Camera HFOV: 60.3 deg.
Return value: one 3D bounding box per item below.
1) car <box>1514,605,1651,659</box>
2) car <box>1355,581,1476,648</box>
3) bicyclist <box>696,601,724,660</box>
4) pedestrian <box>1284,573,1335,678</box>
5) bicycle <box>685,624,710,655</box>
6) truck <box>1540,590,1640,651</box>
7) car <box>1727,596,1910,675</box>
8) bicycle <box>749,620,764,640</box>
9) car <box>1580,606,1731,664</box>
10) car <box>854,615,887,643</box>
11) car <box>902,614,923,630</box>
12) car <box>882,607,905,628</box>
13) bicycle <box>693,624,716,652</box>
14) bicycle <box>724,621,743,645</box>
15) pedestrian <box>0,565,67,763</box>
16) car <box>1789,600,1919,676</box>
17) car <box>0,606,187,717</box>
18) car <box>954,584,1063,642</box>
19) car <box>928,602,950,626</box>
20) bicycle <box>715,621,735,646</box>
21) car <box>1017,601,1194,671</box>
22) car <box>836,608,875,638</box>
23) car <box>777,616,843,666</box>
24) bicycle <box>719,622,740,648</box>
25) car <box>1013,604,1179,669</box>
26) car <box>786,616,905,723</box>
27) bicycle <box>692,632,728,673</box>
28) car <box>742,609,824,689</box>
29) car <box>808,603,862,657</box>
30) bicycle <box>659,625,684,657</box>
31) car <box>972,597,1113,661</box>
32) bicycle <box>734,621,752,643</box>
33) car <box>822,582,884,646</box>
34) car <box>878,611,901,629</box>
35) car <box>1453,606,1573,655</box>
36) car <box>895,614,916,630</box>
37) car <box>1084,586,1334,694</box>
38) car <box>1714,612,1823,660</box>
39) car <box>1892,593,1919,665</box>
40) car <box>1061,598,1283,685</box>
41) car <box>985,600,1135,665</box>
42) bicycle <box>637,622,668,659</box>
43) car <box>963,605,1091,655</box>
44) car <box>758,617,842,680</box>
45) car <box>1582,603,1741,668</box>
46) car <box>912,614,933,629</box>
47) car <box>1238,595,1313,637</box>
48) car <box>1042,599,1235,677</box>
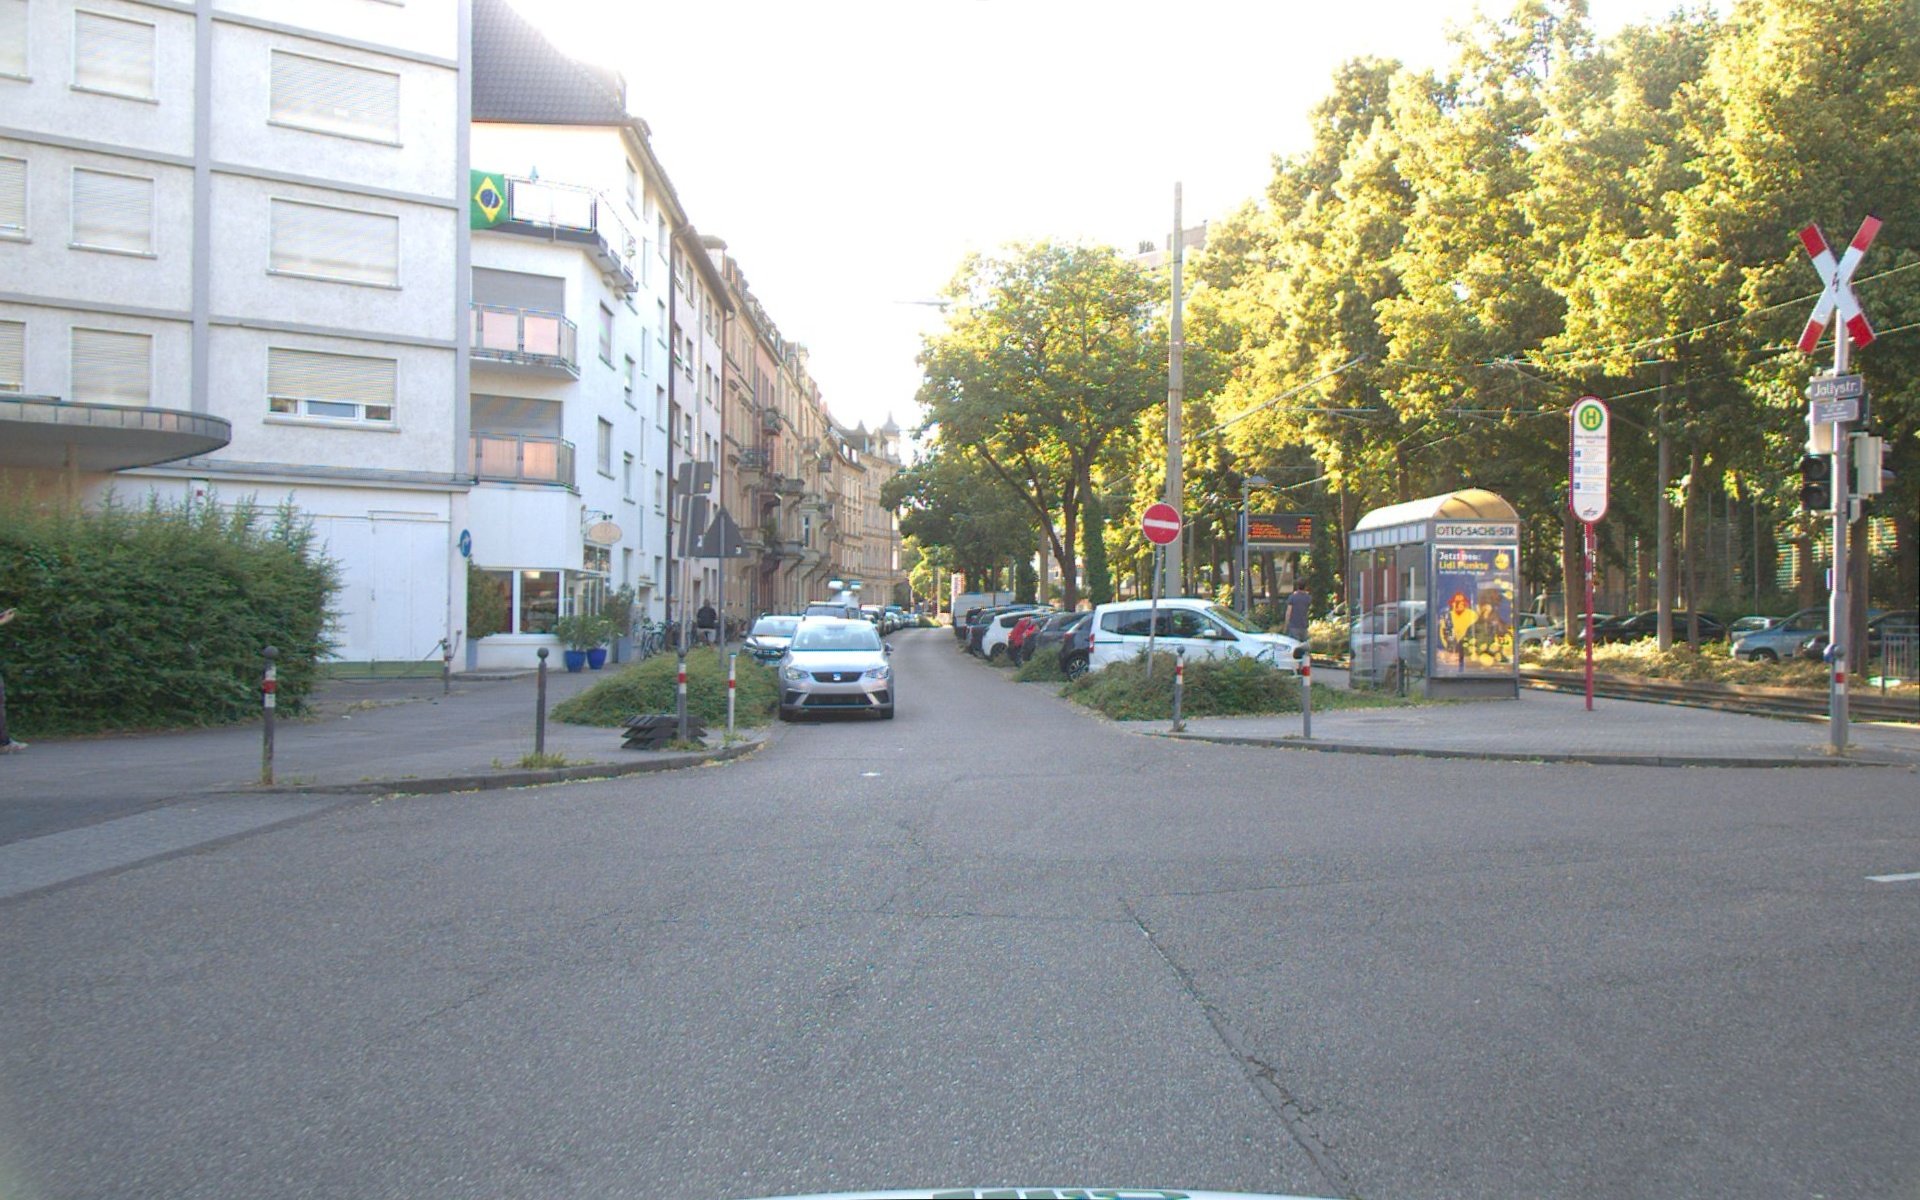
[{"bbox_3d":[18.751,0.984,49.967,3.737,1.415,1.738,3,-1,18],"label":"car"},{"bbox_3d":[18.750,0.587,68.103,4.401,2.519,1.816,2,-1,29],"label":"car"},{"bbox_3d":[-6.991,0.854,46.303,0.697,1.645,0.723,0,-1,-1],"label":"bicyclist"},{"bbox_3d":[6.571,0.479,31.090,0.830,1.944,0.838,0,-1,20],"label":"pedestrian"},{"bbox_3d":[-9.237,1.381,58.294,0.614,1.021,2.175,0,0,-2],"label":"bicycle"},{"bbox_3d":[25.455,0.824,66.974,2.318,2.393,4.382,0,0,-1],"label":"truck"},{"bbox_3d":[19.678,0.790,38.045,3.534,1.589,1.607,3,0,22],"label":"car"},{"bbox_3d":[-10.681,1.544,86.828,0.614,1.021,2.175,0,0,-2],"label":"bicycle"},{"bbox_3d":[19.577,0.990,46.710,3.737,1.415,1.738,3,-1,18],"label":"car"},{"bbox_3d":[-5.127,1.654,95.091,1.675,1.471,4.000,-1,0,0],"label":"car"},{"bbox_3d":[-4.777,2.193,166.022,1.674,1.471,4.002,-1,0,5],"label":"car"},{"bbox_3d":[-6.063,1.577,150.616,1.675,1.852,4.001,-1,0,3],"label":"car"},{"bbox_3d":[-9.552,1.404,61.821,0.614,1.021,2.175,0,0,-2],"label":"bicycle"},{"bbox_3d":[-10.138,1.464,74.062,0.614,1.021,2.175,0,0,-2],"label":"bicycle"},{"bbox_3d":[-8.848,0.565,15.174,0.811,1.766,0.870,1,-1,-3],"label":"pedestrian"},{"bbox_3d":[19.800,0.830,35.345,3.534,1.472,1.607,3,0,22],"label":"car"},{"bbox_3d":[-13.616,0.871,24.223,3.949,1.559,1.978,0,-1,-33],"label":"car"},{"bbox_3d":[2.533,0.680,86.572,5.149,2.616,2.271,-4,-1,27],"label":"car"},{"bbox_3d":[-2.319,1.500,181.231,1.674,2.607,5.571,-1,0,7],"label":"car"},{"bbox_3d":[-10.166,1.450,71.570,0.614,1.021,2.175,0,0,-2],"label":"bicycle"},{"bbox_3d":[3.709,0.913,42.273,4.142,1.484,1.607,-4,-1,23],"label":"car"},{"bbox_3d":[-5.465,1.188,86.815,1.675,1.471,4.000,-1,0,1],"label":"car"},{"bbox_3d":[-4.800,1.284,53.299,1.675,1.471,4.000,-1,0,1],"label":"car"},{"bbox_3d":[-9.570,1.450,68.700,0.614,1.021,2.175,0,0,-2],"label":"bicycle"},{"bbox_3d":[3.696,0.994,45.007,4.142,1.484,1.607,-4,-1,23],"label":"car"},{"bbox_3d":[-1.842,1.005,25.578,1.678,1.471,3.995,-1,0,-6],"label":"car"},{"bbox_3d":[-6.988,1.456,46.327,0.697,1.069,2.347,0,0,-1],"label":"bicycle"},{"bbox_3d":[-4.025,1.077,38.124,1.677,1.702,3.997,-1,0,-4],"label":"car"},{"bbox_3d":[-4.768,1.135,63.670,1.675,1.966,4.000,-1,0,1],"label":"car"},{"bbox_3d":[-9.461,1.342,54.313,0.521,1.021,2.175,0,0,-2],"label":"bicycle"},{"bbox_3d":[2.674,0.956,53.796,4.154,1.779,1.852,-4,-1,35],"label":"car"},{"bbox_3d":[-10.123,1.495,77.272,0.614,1.021,2.175,0,0,-2],"label":"bicycle"},{"bbox_3d":[-5.115,0.640,79.645,2.500,2.938,5.482,-1,0,1],"label":"car"},{"bbox_3d":[-6.036,1.710,142.173,1.675,1.471,4.000,-1,0,1],"label":"car"},{"bbox_3d":[18.667,1.021,55.959,3.737,1.446,1.738,3,-1,18],"label":"car"},{"bbox_3d":[-5.295,2.100,160.612,1.675,1.471,4.001,-1,0,3],"label":"car"},{"bbox_3d":[4.538,0.745,30.295,4.148,1.681,1.605,-4,-1,29],"label":"car"},{"bbox_3d":[26.114,1.149,53.545,1.541,1.493,3.596,0,0,-5],"label":"car"},{"bbox_3d":[26.666,0.777,43.712,1.541,1.937,3.895,0,0,-7],"label":"car"},{"bbox_3d":[4.307,0.844,33.637,4.108,1.461,1.700,-4,-1,23],"label":"car"},{"bbox_3d":[3.024,1.008,50.476,4.154,1.680,1.852,-4,-1,35],"label":"car"},{"bbox_3d":[-8.877,1.165,47.743,0.520,1.021,2.175,0,0,-1],"label":"bicycle"},{"bbox_3d":[2.425,1.098,59.892,4.145,1.498,1.856,-4,-1,27],"label":"car"},{"bbox_3d":[-4.079,1.214,42.726,1.675,1.471,4.000,-1,0,1],"label":"car"},{"bbox_3d":[18.794,0.966,44.460,3.737,1.523,1.738,3,-1,18],"label":"car"},{"bbox_3d":[-3.846,2.169,170.949,1.674,1.471,4.003,-1,0,7],"label":"car"},{"bbox_3d":[18.780,0.964,98.460,4.002,2.249,1.816,2,-1,29],"label":"car"},{"bbox_3d":[4.198,0.895,38.901,4.142,1.534,1.607,-4,-1,23],"label":"car"}]
